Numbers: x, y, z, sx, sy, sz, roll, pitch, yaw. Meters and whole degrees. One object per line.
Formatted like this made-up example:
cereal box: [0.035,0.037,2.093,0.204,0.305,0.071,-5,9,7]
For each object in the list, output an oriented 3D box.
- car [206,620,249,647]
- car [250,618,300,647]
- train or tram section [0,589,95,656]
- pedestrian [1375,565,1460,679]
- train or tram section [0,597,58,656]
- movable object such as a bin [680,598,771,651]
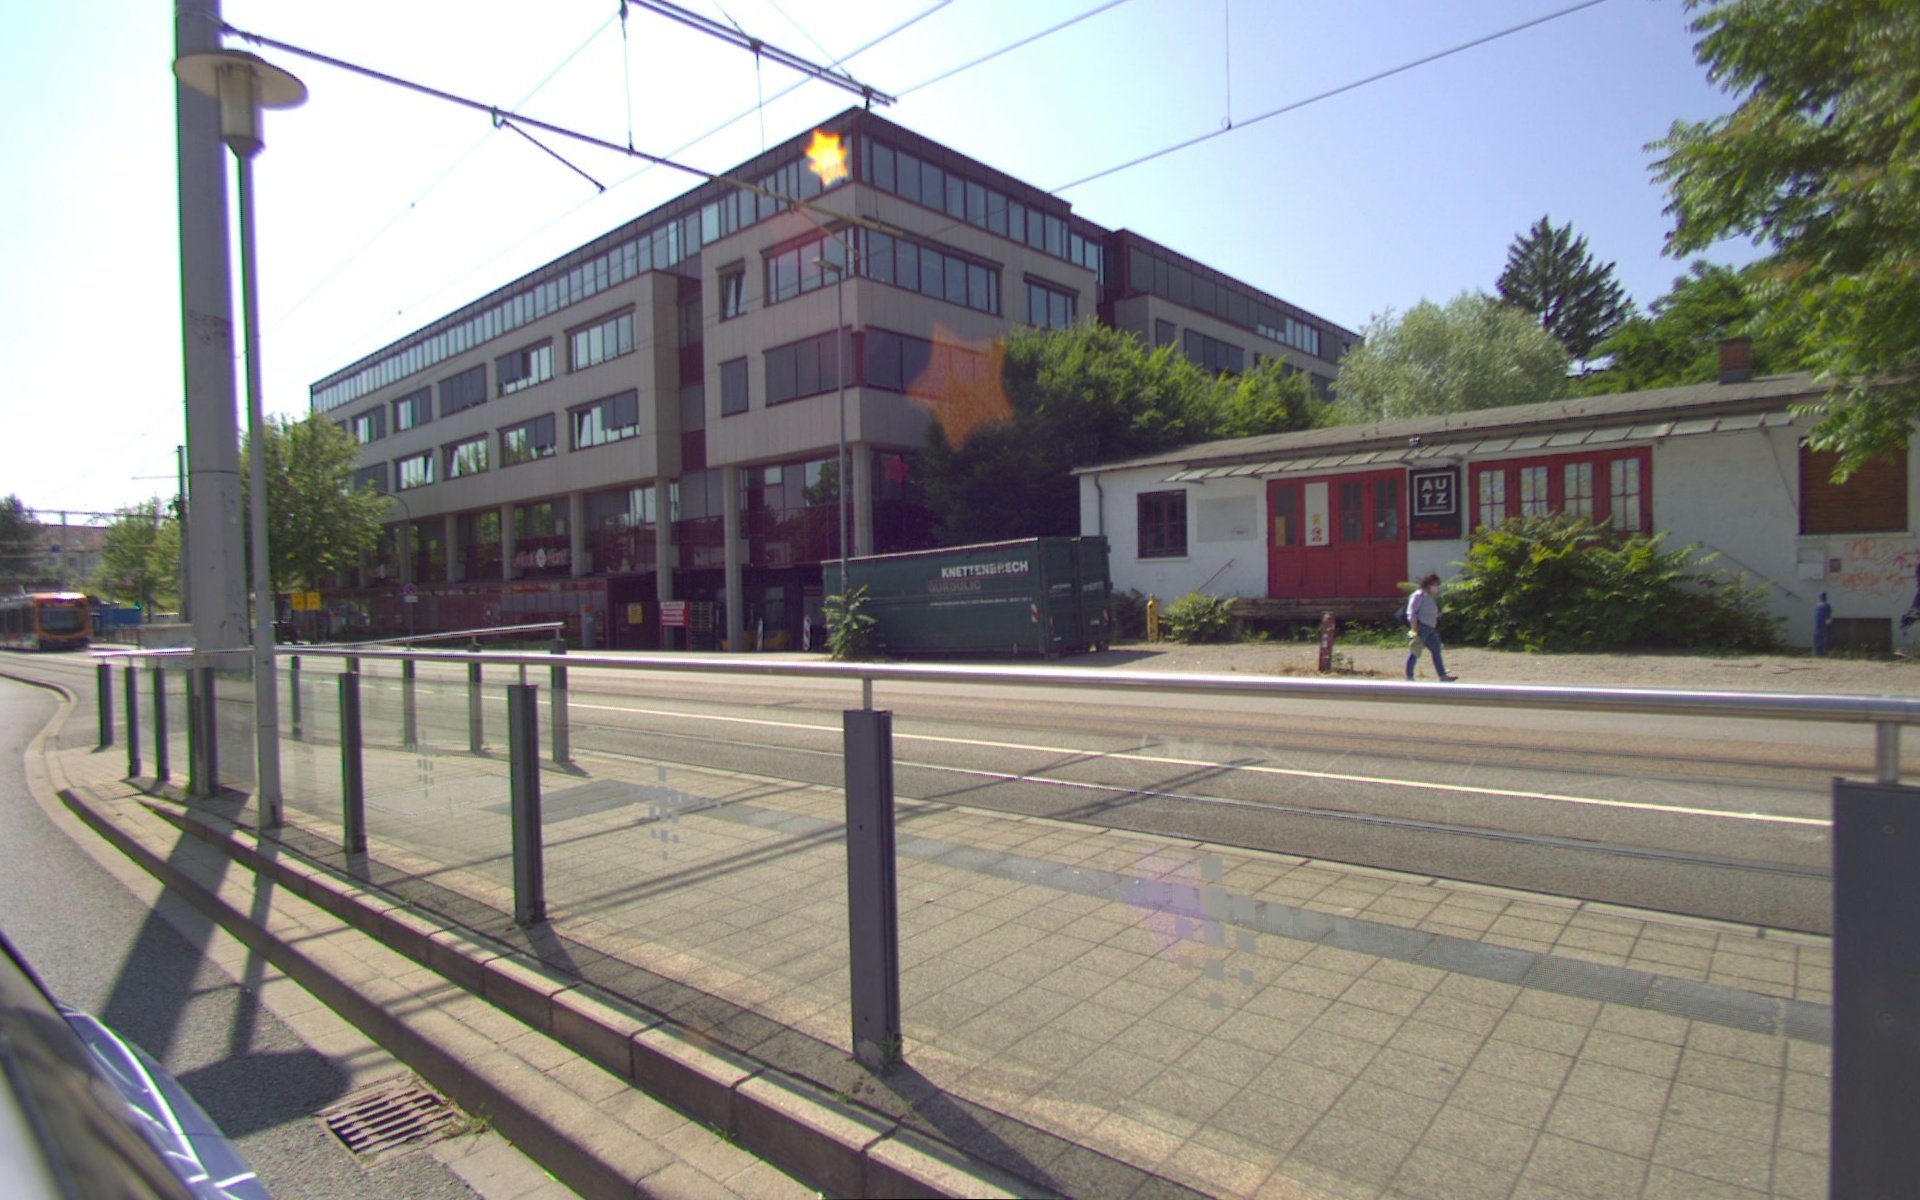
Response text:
car: [-47.269,2.116,65.265,1.844,1.630,4.005,-1,0,-41]
car: [-41.192,1.938,60.808,1.969,1.635,4.005,-1,0,-41]
train or tram section: [-52.981,1.350,58.556,12.322,3.510,2.646,-2,0,41]
pedestrian: [6.448,0.293,14.272,0.845,1.538,0.862,-2,0,41]
train or tram section: [-62.579,1.796,66.952,13.383,3.510,2.646,-2,0,41]
movable object such as a bin: [-9.579,0.995,41.336,3.157,2.029,1.734,-2,0,22]
